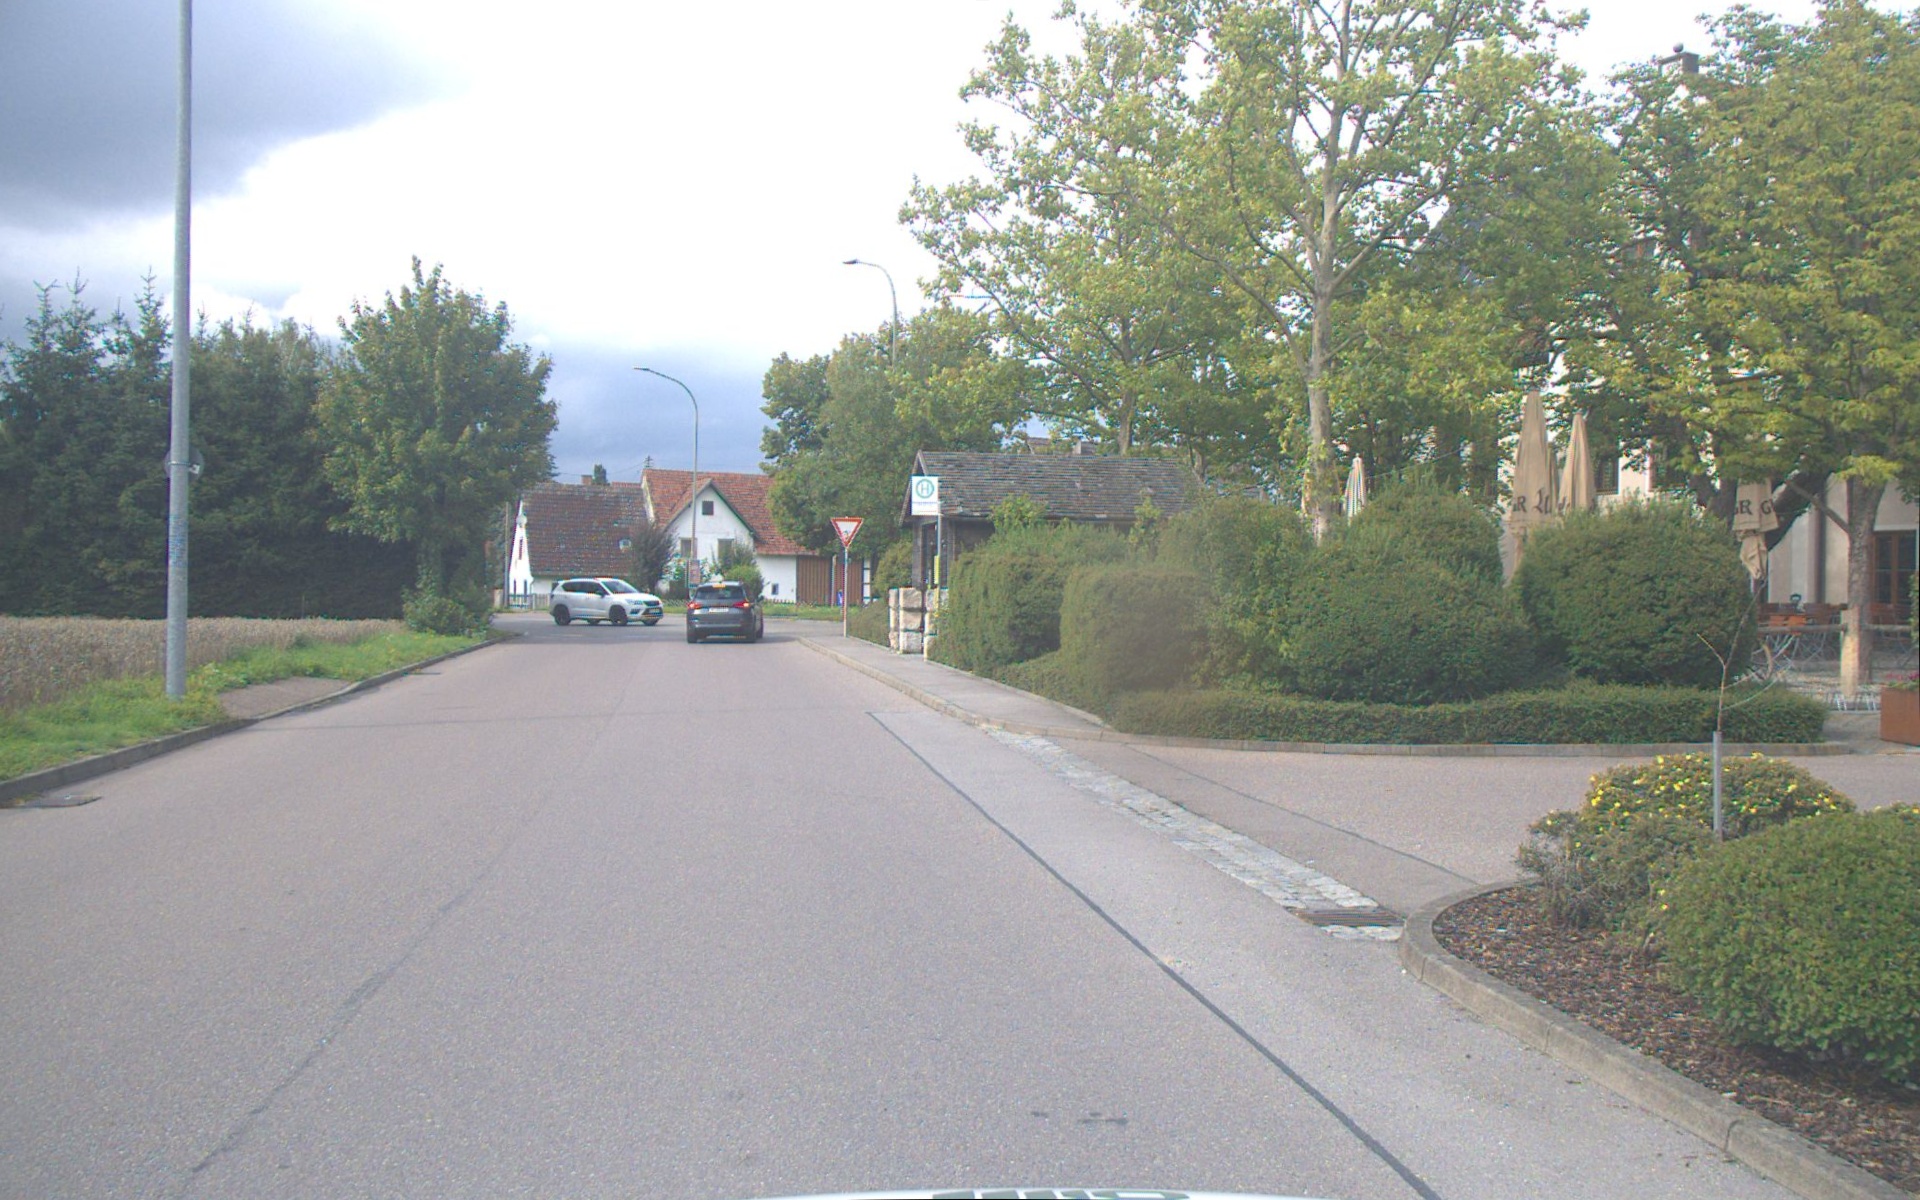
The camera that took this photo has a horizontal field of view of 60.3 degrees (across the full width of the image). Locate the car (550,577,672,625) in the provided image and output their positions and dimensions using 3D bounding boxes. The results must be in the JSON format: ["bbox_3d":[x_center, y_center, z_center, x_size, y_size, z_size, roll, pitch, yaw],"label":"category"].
[{"bbox_3d":[-11.986,0.022,56.769,3.903,1.542,1.801,1,1,30],"label":"car"}]

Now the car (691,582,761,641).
[{"bbox_3d":[-6.229,0.272,43.982,1.765,1.488,3.655,0,1,-8],"label":"car"}]
